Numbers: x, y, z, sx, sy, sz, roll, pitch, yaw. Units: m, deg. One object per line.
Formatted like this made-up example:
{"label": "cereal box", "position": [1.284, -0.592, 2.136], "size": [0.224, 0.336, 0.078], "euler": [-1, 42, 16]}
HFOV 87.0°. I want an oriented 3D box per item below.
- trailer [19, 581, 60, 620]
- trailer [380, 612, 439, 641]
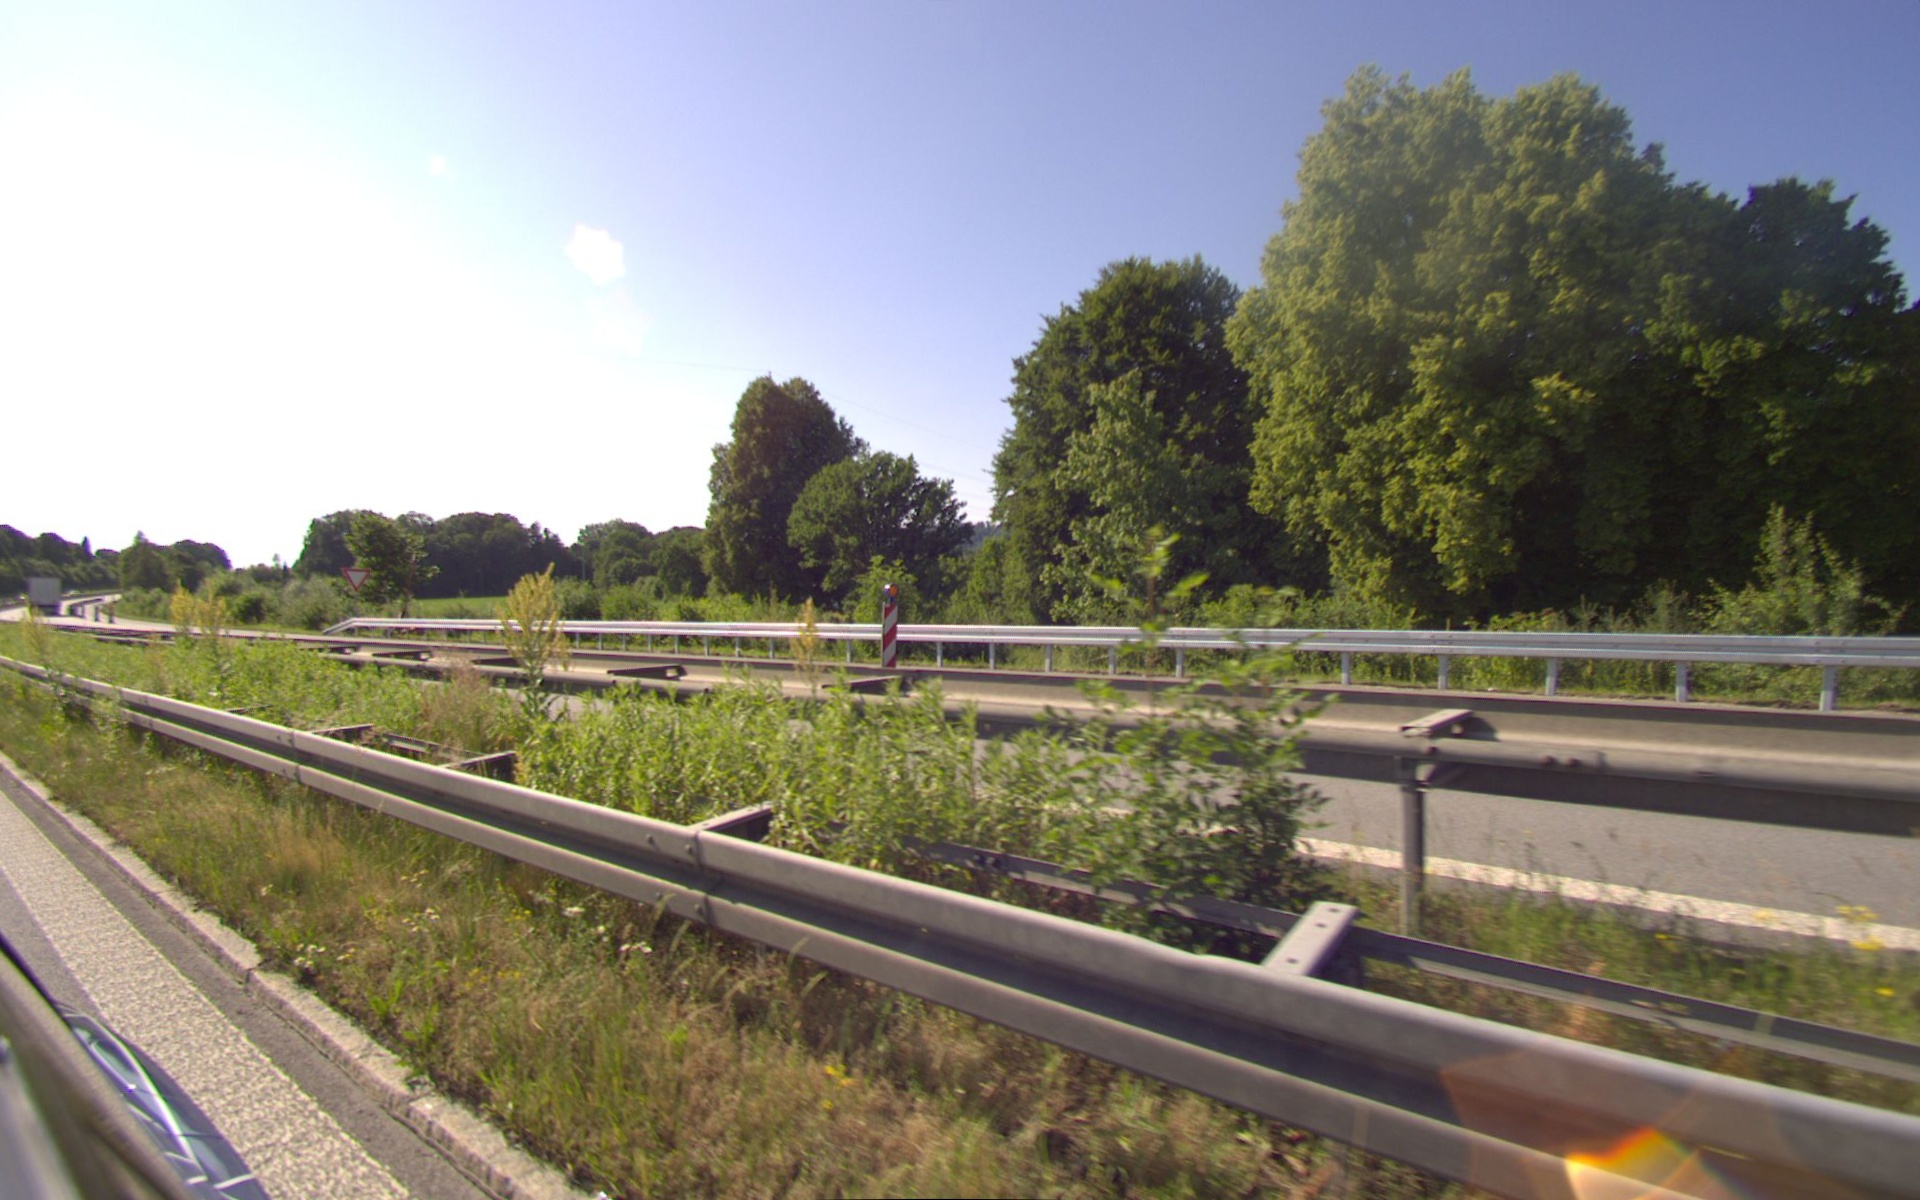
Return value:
{"label": "trailer", "position": [-98.343, 0.130, 108.053], "size": [2.648, 3.984, 13.776], "euler": [0, -1, -45]}
{"label": "trailer", "position": [-22.404, 1.049, 41.136], "size": [3.423, 1.060, 0.982], "euler": [-1, 4, 43]}
